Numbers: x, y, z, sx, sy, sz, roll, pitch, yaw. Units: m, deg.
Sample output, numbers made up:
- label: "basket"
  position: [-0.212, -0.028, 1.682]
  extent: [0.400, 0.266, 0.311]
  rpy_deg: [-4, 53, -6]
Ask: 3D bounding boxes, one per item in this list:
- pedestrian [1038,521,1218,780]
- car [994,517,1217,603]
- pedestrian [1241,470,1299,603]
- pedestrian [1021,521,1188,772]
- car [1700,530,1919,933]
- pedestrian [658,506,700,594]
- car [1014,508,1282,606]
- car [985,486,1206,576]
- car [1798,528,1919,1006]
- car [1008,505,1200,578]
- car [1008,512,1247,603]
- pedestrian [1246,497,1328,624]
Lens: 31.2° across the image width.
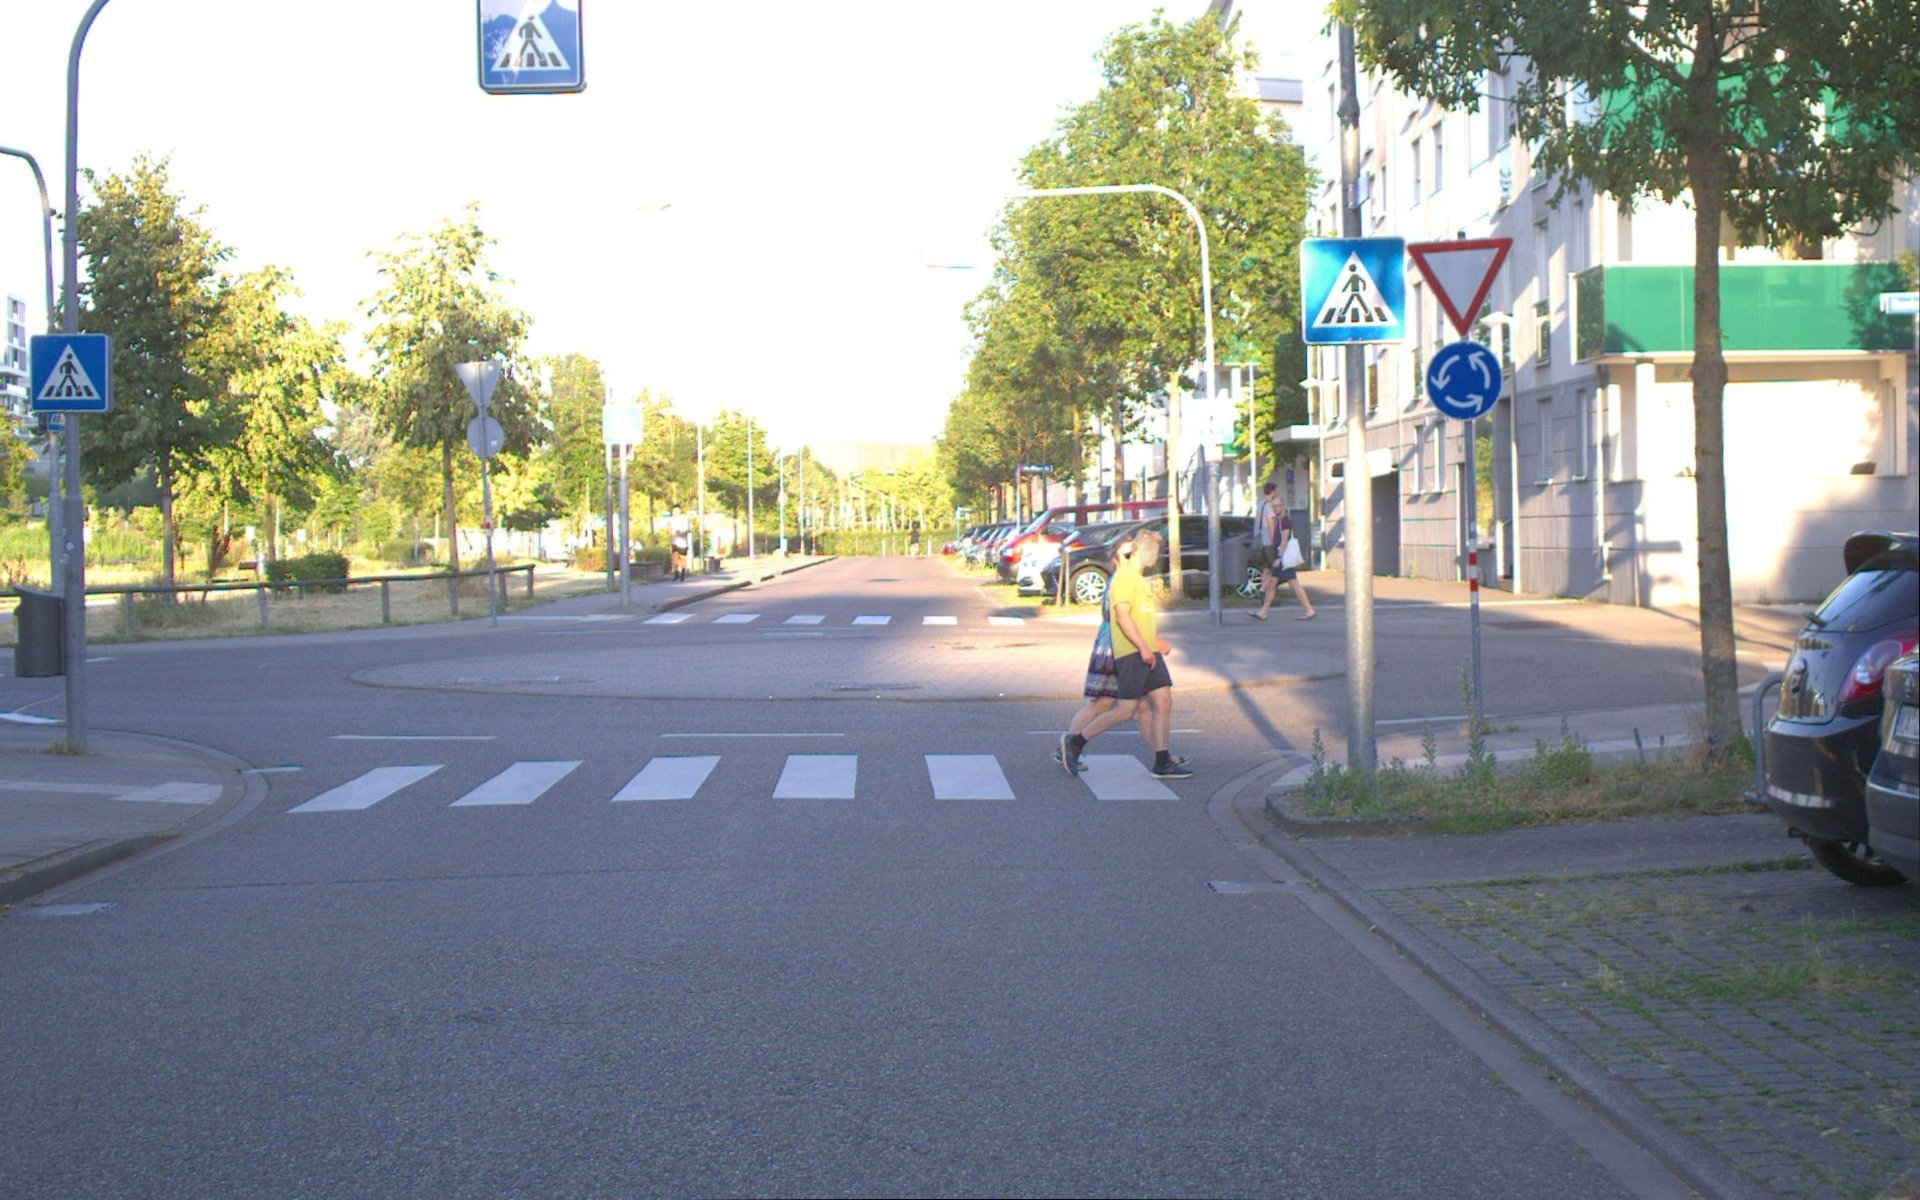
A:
- label: "pedestrian"
  position: [1.119, 0.324, 23.047]
  extent: [1.018, 1.687, 0.760]
  rpy_deg: [-1, 1, -12]
- label: "car"
  position: [2.804, -0.784, 67.005]
  extent: [4.263, 1.590, 2.000]
  rpy_deg: [-1, 1, 1]
- label: "pedestrian"
  position: [4.743, -0.969, 52.585]
  extent: [0.846, 2.007, 0.943]
  rpy_deg: [-1, 1, 5]
- label: "pedestrian"
  position: [0.993, 0.306, 23.736]
  extent: [0.983, 1.687, 0.700]
  rpy_deg: [-1, 1, -12]
- label: "car"
  position: [5.060, 0.454, 13.757]
  extent: [3.802, 1.503, 1.679]
  rpy_deg: [-1, 0, 0]
- label: "pedestrian"
  position: [-6.481, -1.158, 79.276]
  extent: [0.866, 2.007, 0.790]
  rpy_deg: [-1, 1, -11]
- label: "car"
  position: [3.199, -0.748, 59.122]
  extent: [4.484, 1.590, 2.000]
  rpy_deg: [-1, 1, 1]
- label: "car"
  position: [3.206, -1.659, 82.282]
  extent: [5.002, 2.038, 2.251]
  rpy_deg: [-1, 1, -5]
- label: "car"
  position: [4.896, 0.490, 11.345]
  extent: [3.802, 1.503, 1.679]
  rpy_deg: [-1, 1, -2]
- label: "car"
  position: [3.293, -1.352, 79.227]
  extent: [4.263, 1.590, 2.000]
  rpy_deg: [-1, 1, -1]
- label: "car"
  position: [3.096, -0.804, 64.273]
  extent: [4.355, 1.590, 2.000]
  rpy_deg: [-1, 1, 1]
- label: "pedestrian"
  position: [4.638, -0.569, 48.854]
  extent: [1.003, 1.782, 0.762]
  rpy_deg: [0, 1, -7]
